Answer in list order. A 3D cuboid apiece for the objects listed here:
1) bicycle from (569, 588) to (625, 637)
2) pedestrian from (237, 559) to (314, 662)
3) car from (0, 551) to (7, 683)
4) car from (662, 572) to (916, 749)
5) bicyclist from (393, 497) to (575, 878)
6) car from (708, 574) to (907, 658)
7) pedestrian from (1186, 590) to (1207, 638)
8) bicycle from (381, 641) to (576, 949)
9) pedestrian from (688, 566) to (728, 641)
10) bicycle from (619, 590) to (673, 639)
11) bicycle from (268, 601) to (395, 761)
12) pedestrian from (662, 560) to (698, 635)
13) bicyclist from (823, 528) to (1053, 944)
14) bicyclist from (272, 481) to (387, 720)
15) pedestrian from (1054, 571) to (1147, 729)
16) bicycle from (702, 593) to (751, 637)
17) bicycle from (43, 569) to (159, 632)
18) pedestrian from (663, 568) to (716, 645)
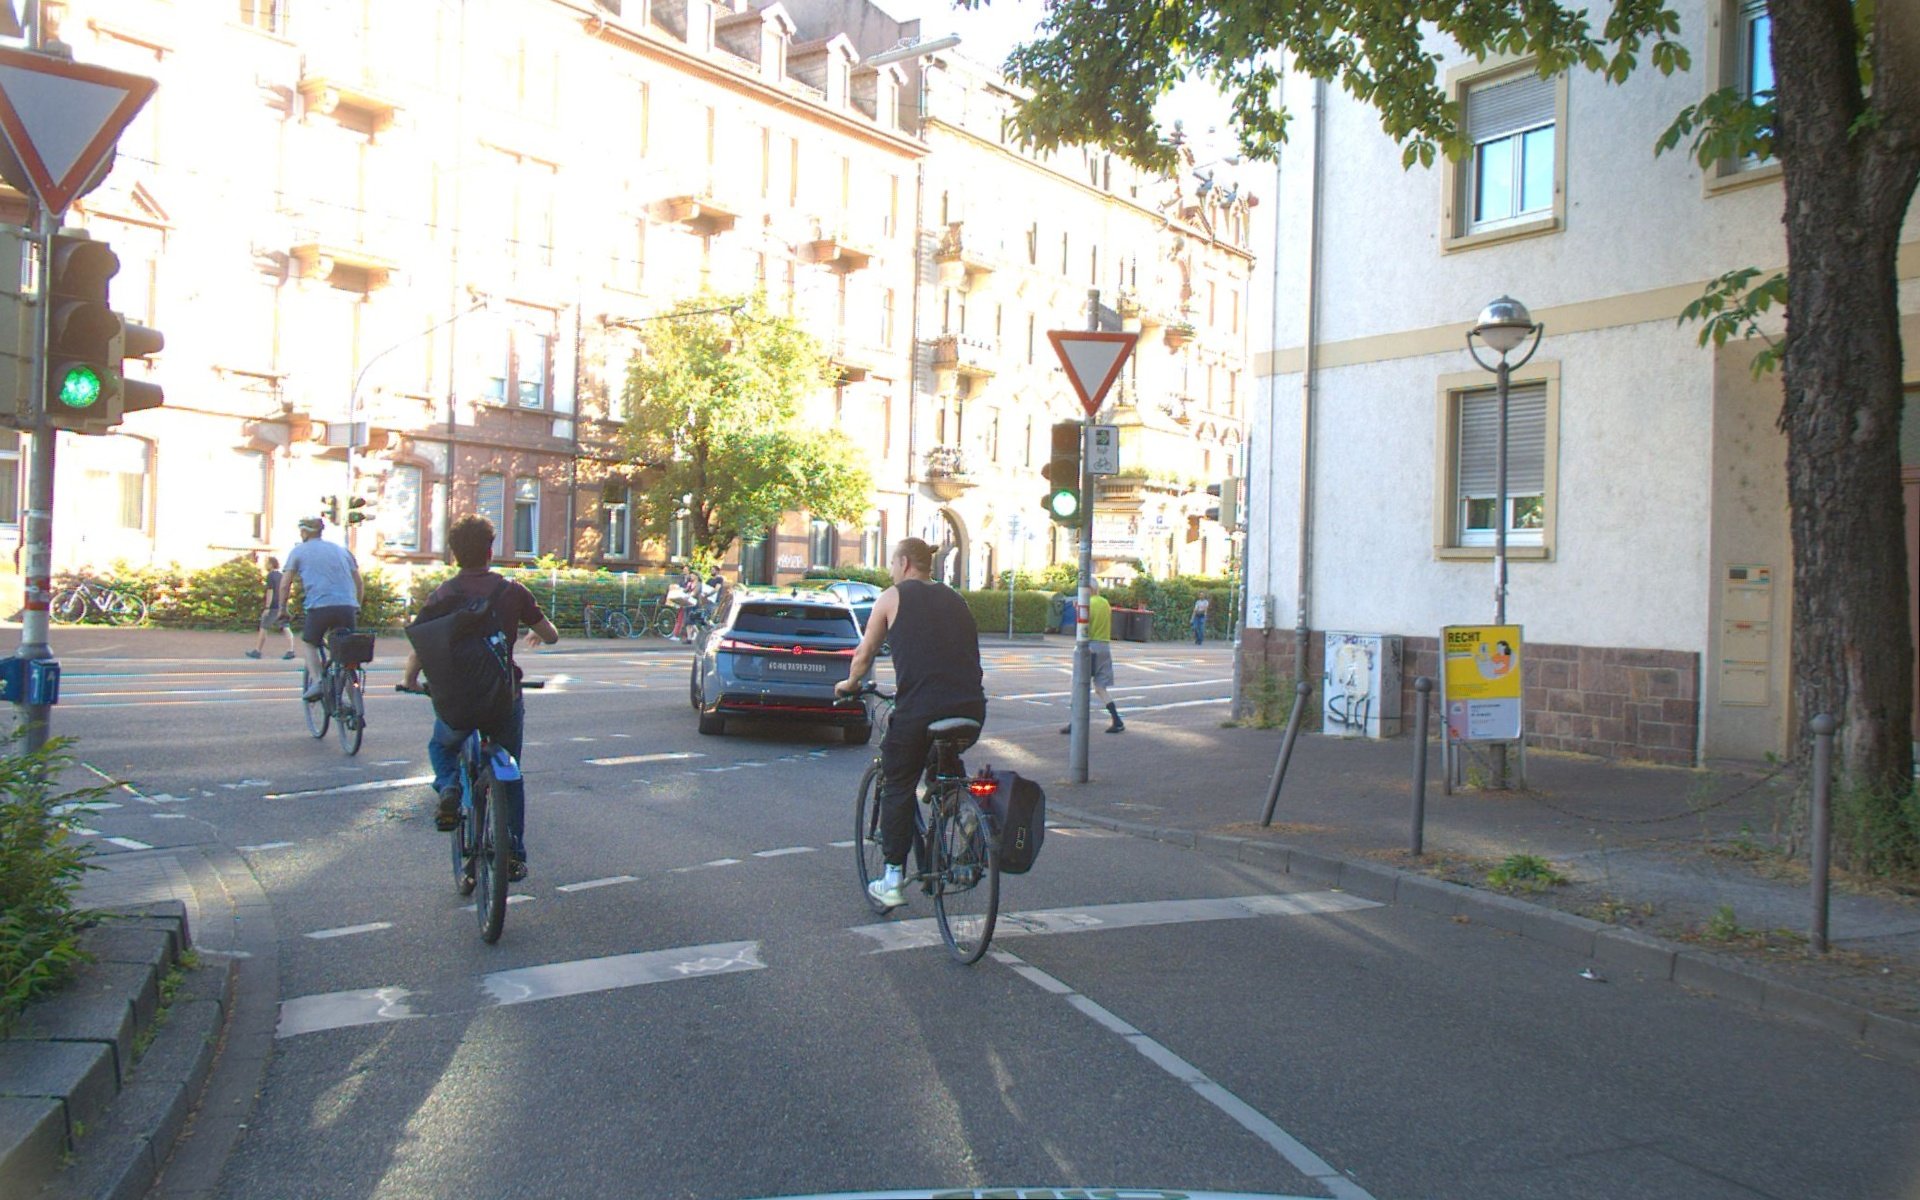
[{"bbox_3d":[-8.455,0.294,38.502,0.435,1.126,1.226,3,1,41],"label":"bicycle"},{"bbox_3d":[-11.536,0.172,27.892,0.883,1.663,0.726,4,1,4],"label":"pedestrian"},{"bbox_3d":[-13.478,0.110,19.880,3.775,1.568,1.793,4,2,29],"label":"car"},{"bbox_3d":[-2.031,0.579,18.329,1.939,1.613,4.455,4,-1,-16],"label":"car"},{"bbox_3d":[-2.171,0.371,7.517,0.696,1.601,0.952,2,0,-18],"label":"bicyclist"},{"bbox_3d":[-3.258,0.358,36.152,1.910,1.679,4.393,2,0,36],"label":"car"},{"bbox_3d":[8.294,0.496,57.964,0.491,1.669,0.518,2,0,-43],"label":"pedestrian"},{"bbox_3d":[-2.217,0.794,7.499,0.706,1.126,1.956,2,0,-19],"label":"bicycle"},{"bbox_3d":[-5.953,0.092,39.090,0.631,1.745,0.654,2,0,-41],"label":"pedestrian"},{"bbox_3d":[-7.505,0.356,39.552,0.435,1.126,1.226,3,1,41],"label":"bicycle"},{"bbox_3d":[-5.388,0.645,14.101,0.800,1.205,2.209,2,0,-26],"label":"bicycle"},{"bbox_3d":[-6.678,-0.057,39.395,0.631,1.745,0.514,2,0,-41],"label":"pedestrian"},{"bbox_3d":[-0.120,0.550,7.299,0.677,1.685,0.982,1,0,-24],"label":"bicyclist"},{"bbox_3d":[-5.388,0.007,14.116,0.784,1.946,0.937,2,0,-26],"label":"bicyclist"},{"bbox_3d":[1.617,0.553,19.052,0.638,1.757,0.877,-1,1,-37],"label":"pedestrian"},{"bbox_3d":[-5.858,0.383,41.555,0.435,1.056,1.227,3,1,40],"label":"bicycle"},{"bbox_3d":[-17.001,0.015,32.780,1.932,1.126,0.440,3,-1,-21],"label":"bicycle"},{"bbox_3d":[-6.210,0.152,37.962,0.888,1.693,0.703,2,3,-37],"label":"pedestrian"}]
